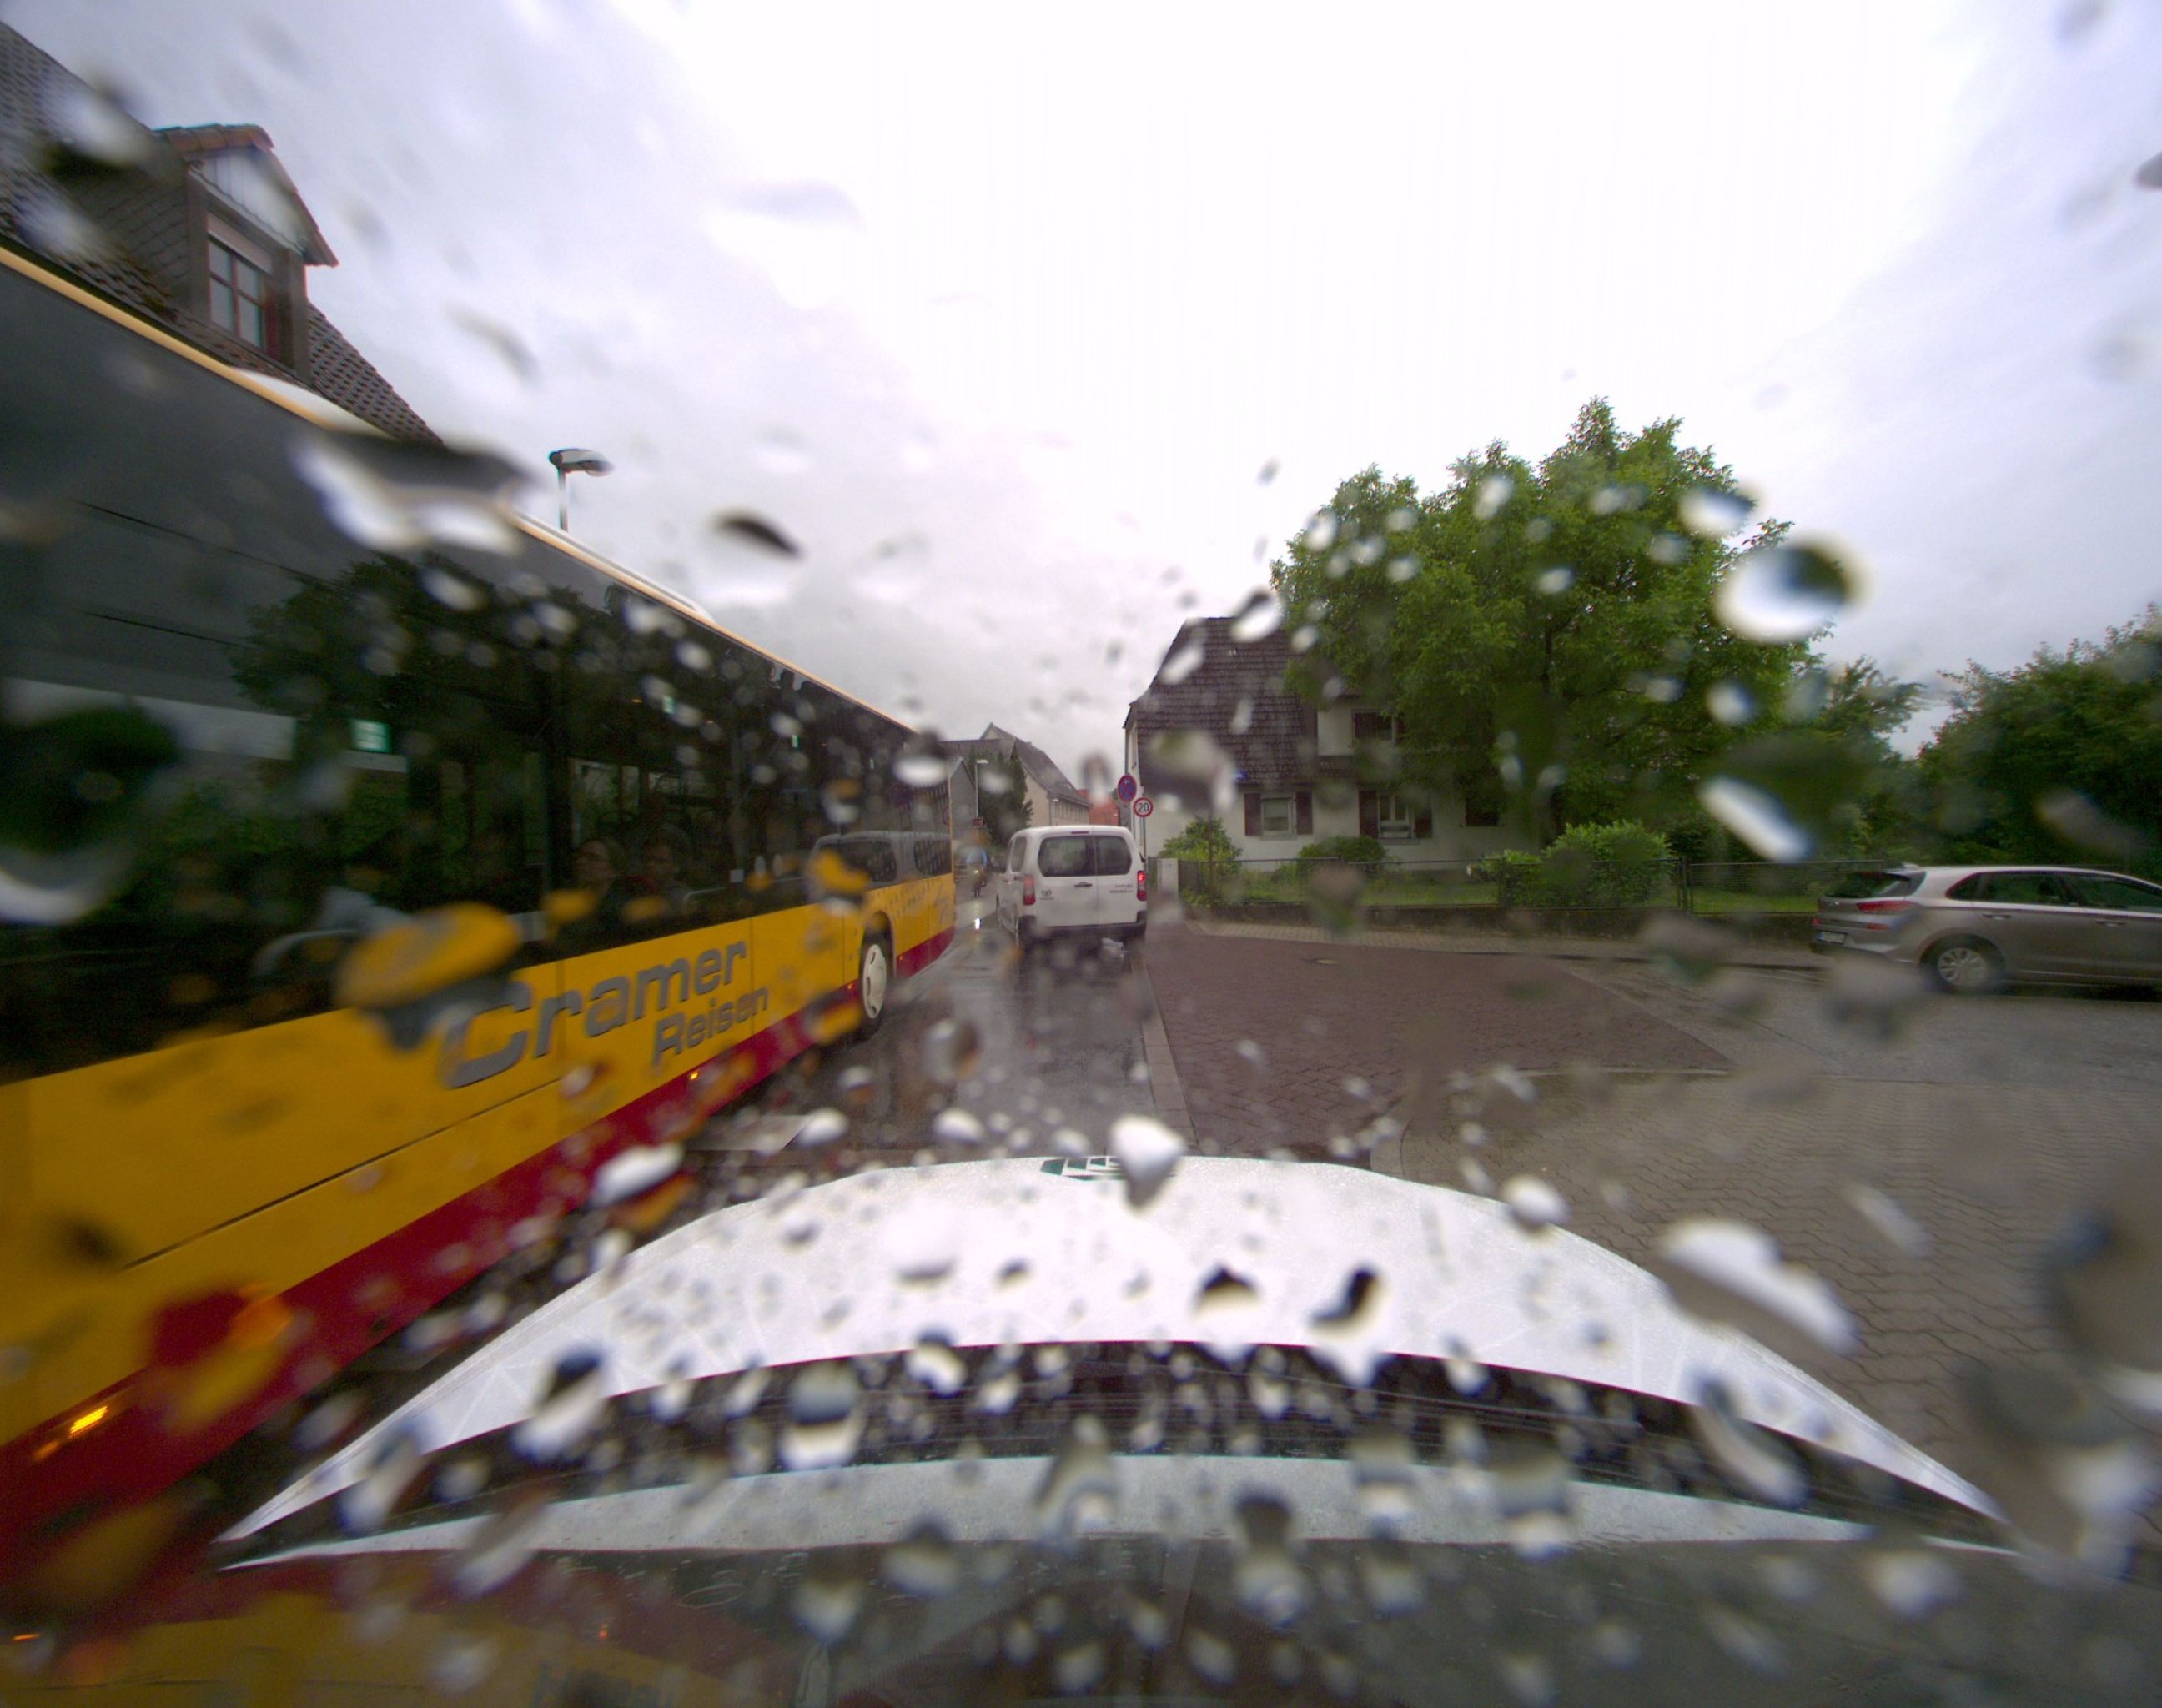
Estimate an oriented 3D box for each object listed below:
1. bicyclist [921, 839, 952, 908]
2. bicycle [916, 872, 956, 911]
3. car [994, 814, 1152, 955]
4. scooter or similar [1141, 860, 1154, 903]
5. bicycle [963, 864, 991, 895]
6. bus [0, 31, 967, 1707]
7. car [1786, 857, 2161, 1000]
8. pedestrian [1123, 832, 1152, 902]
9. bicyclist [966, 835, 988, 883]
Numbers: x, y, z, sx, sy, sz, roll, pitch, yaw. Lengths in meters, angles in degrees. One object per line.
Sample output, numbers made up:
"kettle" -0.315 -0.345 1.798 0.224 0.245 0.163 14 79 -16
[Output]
"bicyclist" -3.812 0.496 21.477 0.654 1.769 0.703 0 2 1
"bicycle" -3.810 0.962 21.483 0.659 0.870 1.935 0 2 1
"car" -0.298 0.427 12.696 1.795 1.819 4.086 0 -1 -11
"scooter or similar" 1.676 0.676 20.553 0.244 1.028 1.100 0 1 0
"bicycle" -3.732 0.905 29.333 0.678 1.051 2.339 0 -1 1
"bus" -3.098 0.063 4.067 2.795 2.939 11.950 0 0 3
"car" 11.111 0.784 9.532 3.956 1.471 1.800 0 0 17
"pedestrian" 1.421 0.319 20.589 0.692 1.732 0.821 0 1 1
"bicyclist" -3.728 0.194 29.358 0.685 1.713 0.703 0 -1 1
